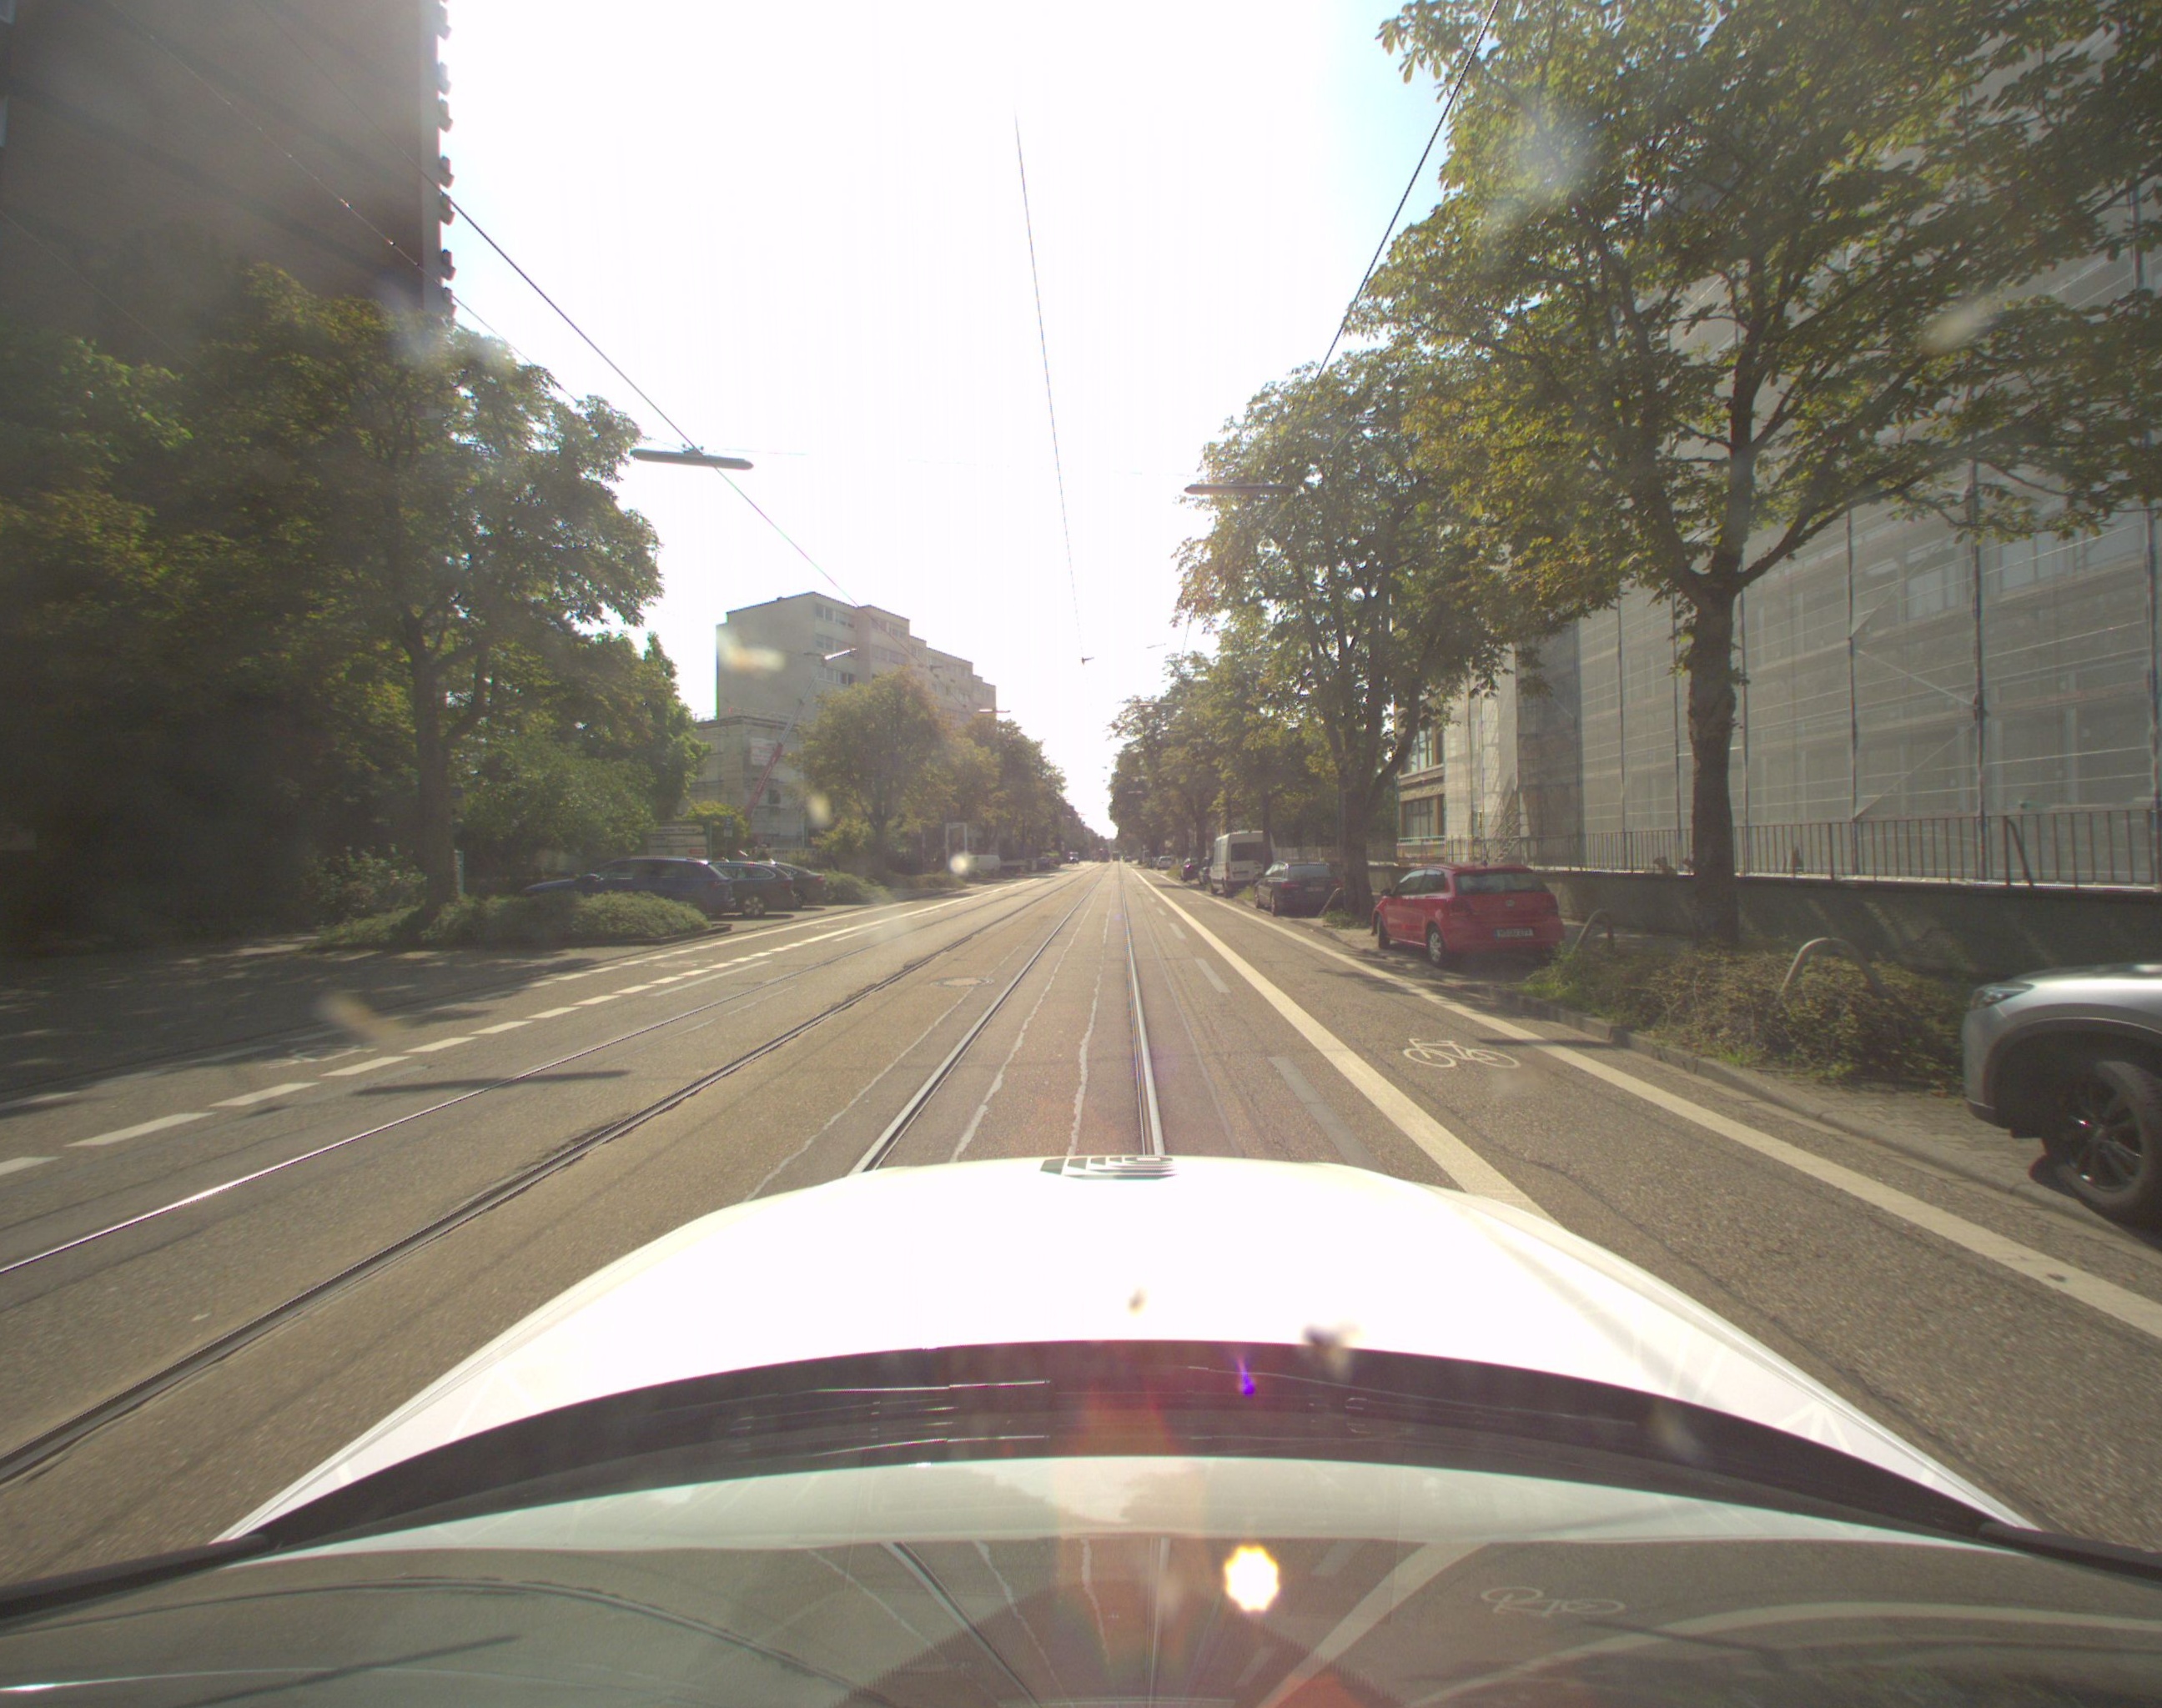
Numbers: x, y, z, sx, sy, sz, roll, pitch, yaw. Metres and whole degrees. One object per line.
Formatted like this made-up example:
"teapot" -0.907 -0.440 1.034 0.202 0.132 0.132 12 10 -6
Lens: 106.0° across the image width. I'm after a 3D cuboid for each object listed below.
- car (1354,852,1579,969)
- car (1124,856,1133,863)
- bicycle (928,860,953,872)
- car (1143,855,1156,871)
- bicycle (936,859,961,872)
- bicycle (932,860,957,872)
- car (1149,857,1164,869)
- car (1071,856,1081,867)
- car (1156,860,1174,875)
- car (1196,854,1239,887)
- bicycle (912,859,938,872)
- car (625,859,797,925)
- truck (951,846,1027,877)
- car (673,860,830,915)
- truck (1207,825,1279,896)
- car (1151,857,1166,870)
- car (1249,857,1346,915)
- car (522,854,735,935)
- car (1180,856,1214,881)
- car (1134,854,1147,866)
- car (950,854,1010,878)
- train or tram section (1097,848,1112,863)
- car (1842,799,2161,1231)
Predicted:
"car" 5.740 0.765 12.728 1.678 1.500 4.134 -1 -1 2
"car" 11.343 1.317 194.149 1.985 1.801 4.003 0 -1 3
"bicycle" -13.244 1.132 76.900 2.319 1.169 0.625 0 -1 20
"car" 10.673 1.433 127.204 1.985 2.365 4.003 0 -1 3
"bicycle" -12.751 1.097 78.261 2.319 1.169 0.565 0 -1 19
"bicycle" -13.018 1.129 77.569 2.319 1.169 0.625 0 -1 19
"car" 9.783 1.180 105.704 1.786 1.577 4.005 -1 0 4
"car" -1.068 1.625 177.421 2.235 2.441 3.998 0 -1 -1
"car" 8.786 1.387 85.612 1.783 1.446 3.738 -2 -1 5
"car" 7.135 0.839 42.932 1.667 1.580 4.174 -3 -1 3
"bicycle" -14.259 1.037 74.328 2.318 1.169 0.605 0 -1 22
"car" -9.720 0.938 21.615 4.006 1.570 1.766 -1 0 -25
"truck" -7.538 0.594 67.126 5.996 2.434 2.127 -1 -1 -37
"car" -10.023 0.970 24.927 4.301 1.497 1.766 -1 0 -24
"truck" 6.446 0.262 33.056 1.910 2.599 5.594 -1 -1 2
"car" 9.391 1.192 99.281 1.634 1.511 3.643 -1 -1 3
"car" 5.952 0.833 22.942 1.678 1.440 4.807 -1 -1 3
"car" -10.118 0.854 18.586 4.001 1.648 1.829 -1 0 -21
"car" 7.380 0.911 52.207 1.667 1.458 4.667 -2 0 3
"car" 11.232 1.065 154.409 1.988 2.233 3.996 -1 0 -2
"car" -7.860 0.950 63.419 4.308 1.772 1.804 -1 -1 -41
"train or tram section" 6.064 0.477 211.747 3.482 3.704 12.424 -1 0 4
"car" 5.064 0.614 2.203 1.755 1.688 4.650 -1 0 2
